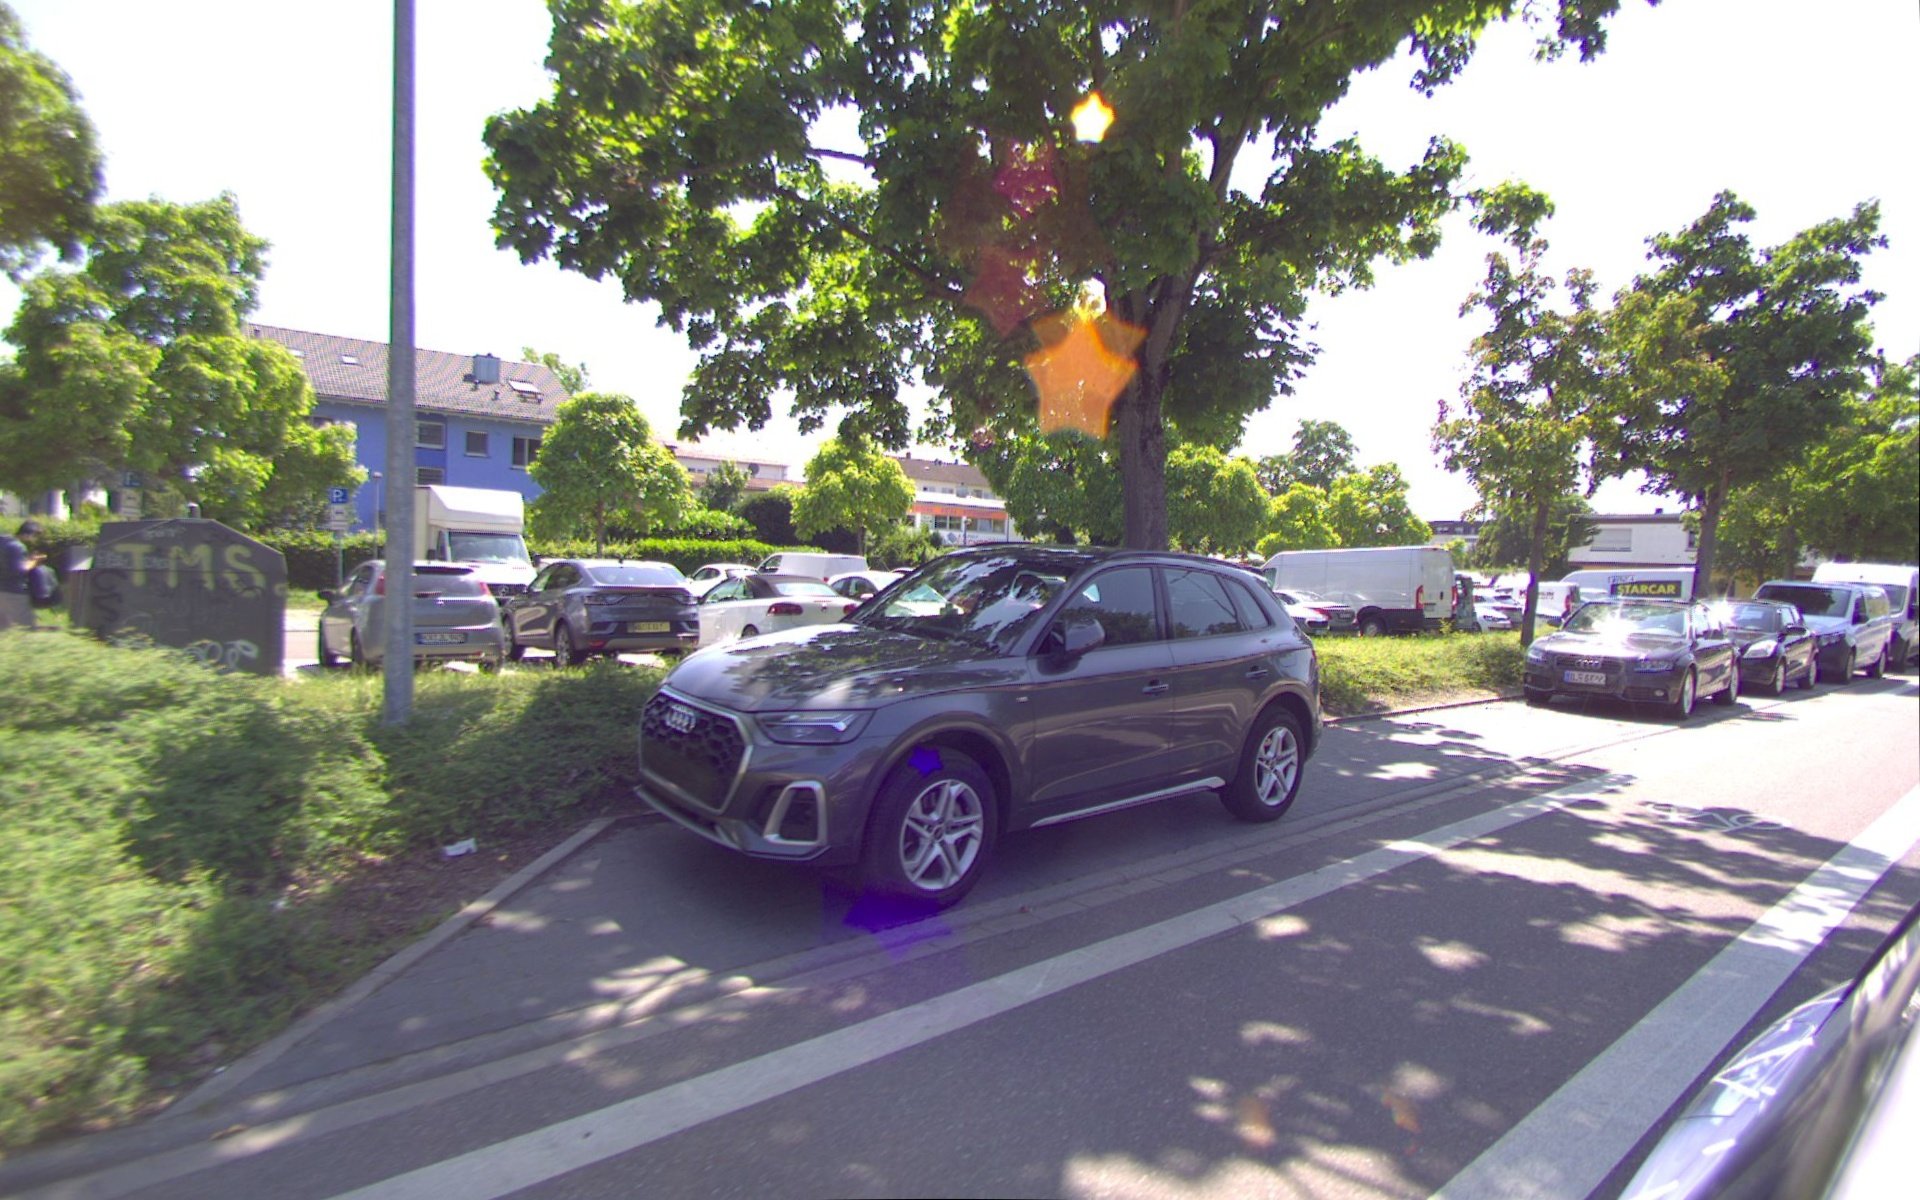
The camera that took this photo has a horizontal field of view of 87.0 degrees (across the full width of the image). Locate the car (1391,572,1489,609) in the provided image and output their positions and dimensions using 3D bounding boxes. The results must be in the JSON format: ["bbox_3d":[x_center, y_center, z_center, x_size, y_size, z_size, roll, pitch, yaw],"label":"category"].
[{"bbox_3d":[28.717,-0.589,60.683,1.875,1.923,4.929,0,4,-40],"label":"car"}]

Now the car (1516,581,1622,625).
[{"bbox_3d":[24.739,0.112,41.178,1.697,1.739,3.378,0,0,-40],"label":"car"}]

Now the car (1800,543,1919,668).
[{"bbox_3d":[22.754,0.091,24.973,6.035,2.668,2.003,0,4,-41],"label":"car"}]

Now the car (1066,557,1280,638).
[{"bbox_3d":[4.790,-0.070,23.377,1.919,1.665,4.703,0,0,-39],"label":"car"}]

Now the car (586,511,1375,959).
[{"bbox_3d":[0.438,0.434,5.941,4.626,1.652,1.716,-1,5,-41],"label":"car"}]

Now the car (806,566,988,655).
[{"bbox_3d":[-1.205,0.163,18.290,1.652,1.446,3.342,0,0,-39],"label":"car"}]

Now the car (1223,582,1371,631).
[{"bbox_3d":[8.751,0.154,26.452,1.652,1.204,3.342,0,0,-39],"label":"car"}]

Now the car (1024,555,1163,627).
[{"bbox_3d":[5.197,-0.424,40.272,2.057,2.489,5.506,1,4,-39],"label":"car"}]

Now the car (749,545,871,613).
[{"bbox_3d":[-4.676,-0.691,31.220,1.724,1.829,4.006,0,4,-43],"label":"car"}]

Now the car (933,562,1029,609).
[{"bbox_3d":[0.718,-0.537,36.256,1.651,1.445,3.345,1,4,-38],"label":"car"}]

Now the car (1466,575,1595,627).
[{"bbox_3d":[21.070,0.017,37.451,1.922,1.806,3.781,0,0,-44],"label":"car"}]

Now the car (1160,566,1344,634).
[{"bbox_3d":[7.015,-0.021,24.602,1.739,1.509,4.027,0,0,-41],"label":"car"}]

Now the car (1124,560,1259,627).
[{"bbox_3d":[9.912,-0.358,43.766,2.057,2.489,5.506,1,4,-39],"label":"car"}]

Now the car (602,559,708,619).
[{"bbox_3d":[-8.582,-0.343,28.323,1.651,1.445,3.476,1,4,-38],"label":"car"}]

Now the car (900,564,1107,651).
[{"bbox_3d":[0.754,0.115,19.673,1.739,1.509,4.027,0,0,-41],"label":"car"}]

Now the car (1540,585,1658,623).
[{"bbox_3d":[26.779,0.147,42.469,1.698,1.490,3.891,0,0,-42],"label":"car"}]

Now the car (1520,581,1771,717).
[{"bbox_3d":[9.408,0.556,13.723,4.628,1.435,1.716,0,4,-43],"label":"car"}]

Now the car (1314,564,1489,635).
[{"bbox_3d":[13.064,-0.025,30.154,1.922,1.933,4.409,0,0,-44],"label":"car"}]

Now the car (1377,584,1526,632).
[{"bbox_3d":[15.381,0.219,31.807,1.699,1.424,3.888,0,0,-44],"label":"car"}]

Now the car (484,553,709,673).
[{"bbox_3d":[-5.366,0.151,14.679,1.740,1.508,3.865,0,0,-42],"label":"car"}]

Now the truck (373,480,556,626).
[{"bbox_3d":[-12.506,-1.252,25.200,2.382,3.122,6.963,0,4,-41],"label":"truck"}]

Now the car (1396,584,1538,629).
[{"bbox_3d":[16.779,0.194,33.612,1.698,1.424,3.891,0,0,-42],"label":"car"}]

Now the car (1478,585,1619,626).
[{"bbox_3d":[22.815,0.192,39.332,1.921,1.524,4.410,0,0,-43],"label":"car"}]

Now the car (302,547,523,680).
[{"bbox_3d":[-7.415,0.146,13.527,1.740,1.508,3.865,0,0,-42],"label":"car"}]

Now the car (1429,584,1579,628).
[{"bbox_3d":[18.882,0.186,35.264,1.698,1.423,4.282,0,0,-42],"label":"car"}]

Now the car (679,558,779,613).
[{"bbox_3d":[-6.980,-0.463,30.414,1.651,1.445,3.345,1,4,-38],"label":"car"}]

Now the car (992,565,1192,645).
[{"bbox_3d":[2.670,0.088,21.212,1.739,1.509,4.027,0,0,-41],"label":"car"}]

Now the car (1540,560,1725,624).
[{"bbox_3d":[29.105,-0.343,44.054,2.221,2.561,6.358,0,0,-37],"label":"car"}]

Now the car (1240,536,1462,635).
[{"bbox_3d":[10.756,-0.369,28.246,2.057,2.490,5.502,0,0,-39],"label":"car"}]

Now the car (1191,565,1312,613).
[{"bbox_3d":[13.501,-0.547,47.166,2.057,1.898,5.111,1,4,-39],"label":"car"}]

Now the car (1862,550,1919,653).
[{"bbox_3d":[27.792,0.071,28.986,5.972,2.668,2.003,0,4,-41],"label":"car"}]

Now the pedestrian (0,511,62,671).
[{"bbox_3d":[-10.771,-0.106,11.577,0.676,1.779,0.679,1,1,-37],"label":"pedestrian"}]

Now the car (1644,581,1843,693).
[{"bbox_3d":[13.209,0.555,16.997,3.770,1.559,1.717,1,4,-39],"label":"car"}]

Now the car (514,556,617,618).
[{"bbox_3d":[-10.602,-0.382,27.095,1.651,1.445,3.345,1,4,-38],"label":"car"}]

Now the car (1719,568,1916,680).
[{"bbox_3d":[17.526,0.429,20.593,5.180,1.900,2.004,1,4,-39],"label":"car"}]

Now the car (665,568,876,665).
[{"bbox_3d":[-3.174,0.226,16.406,1.738,1.375,3.868,0,0,-39],"label":"car"}]

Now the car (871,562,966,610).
[{"bbox_3d":[-1.487,-0.509,35.275,1.651,1.445,3.345,1,4,-38],"label":"car"}]
